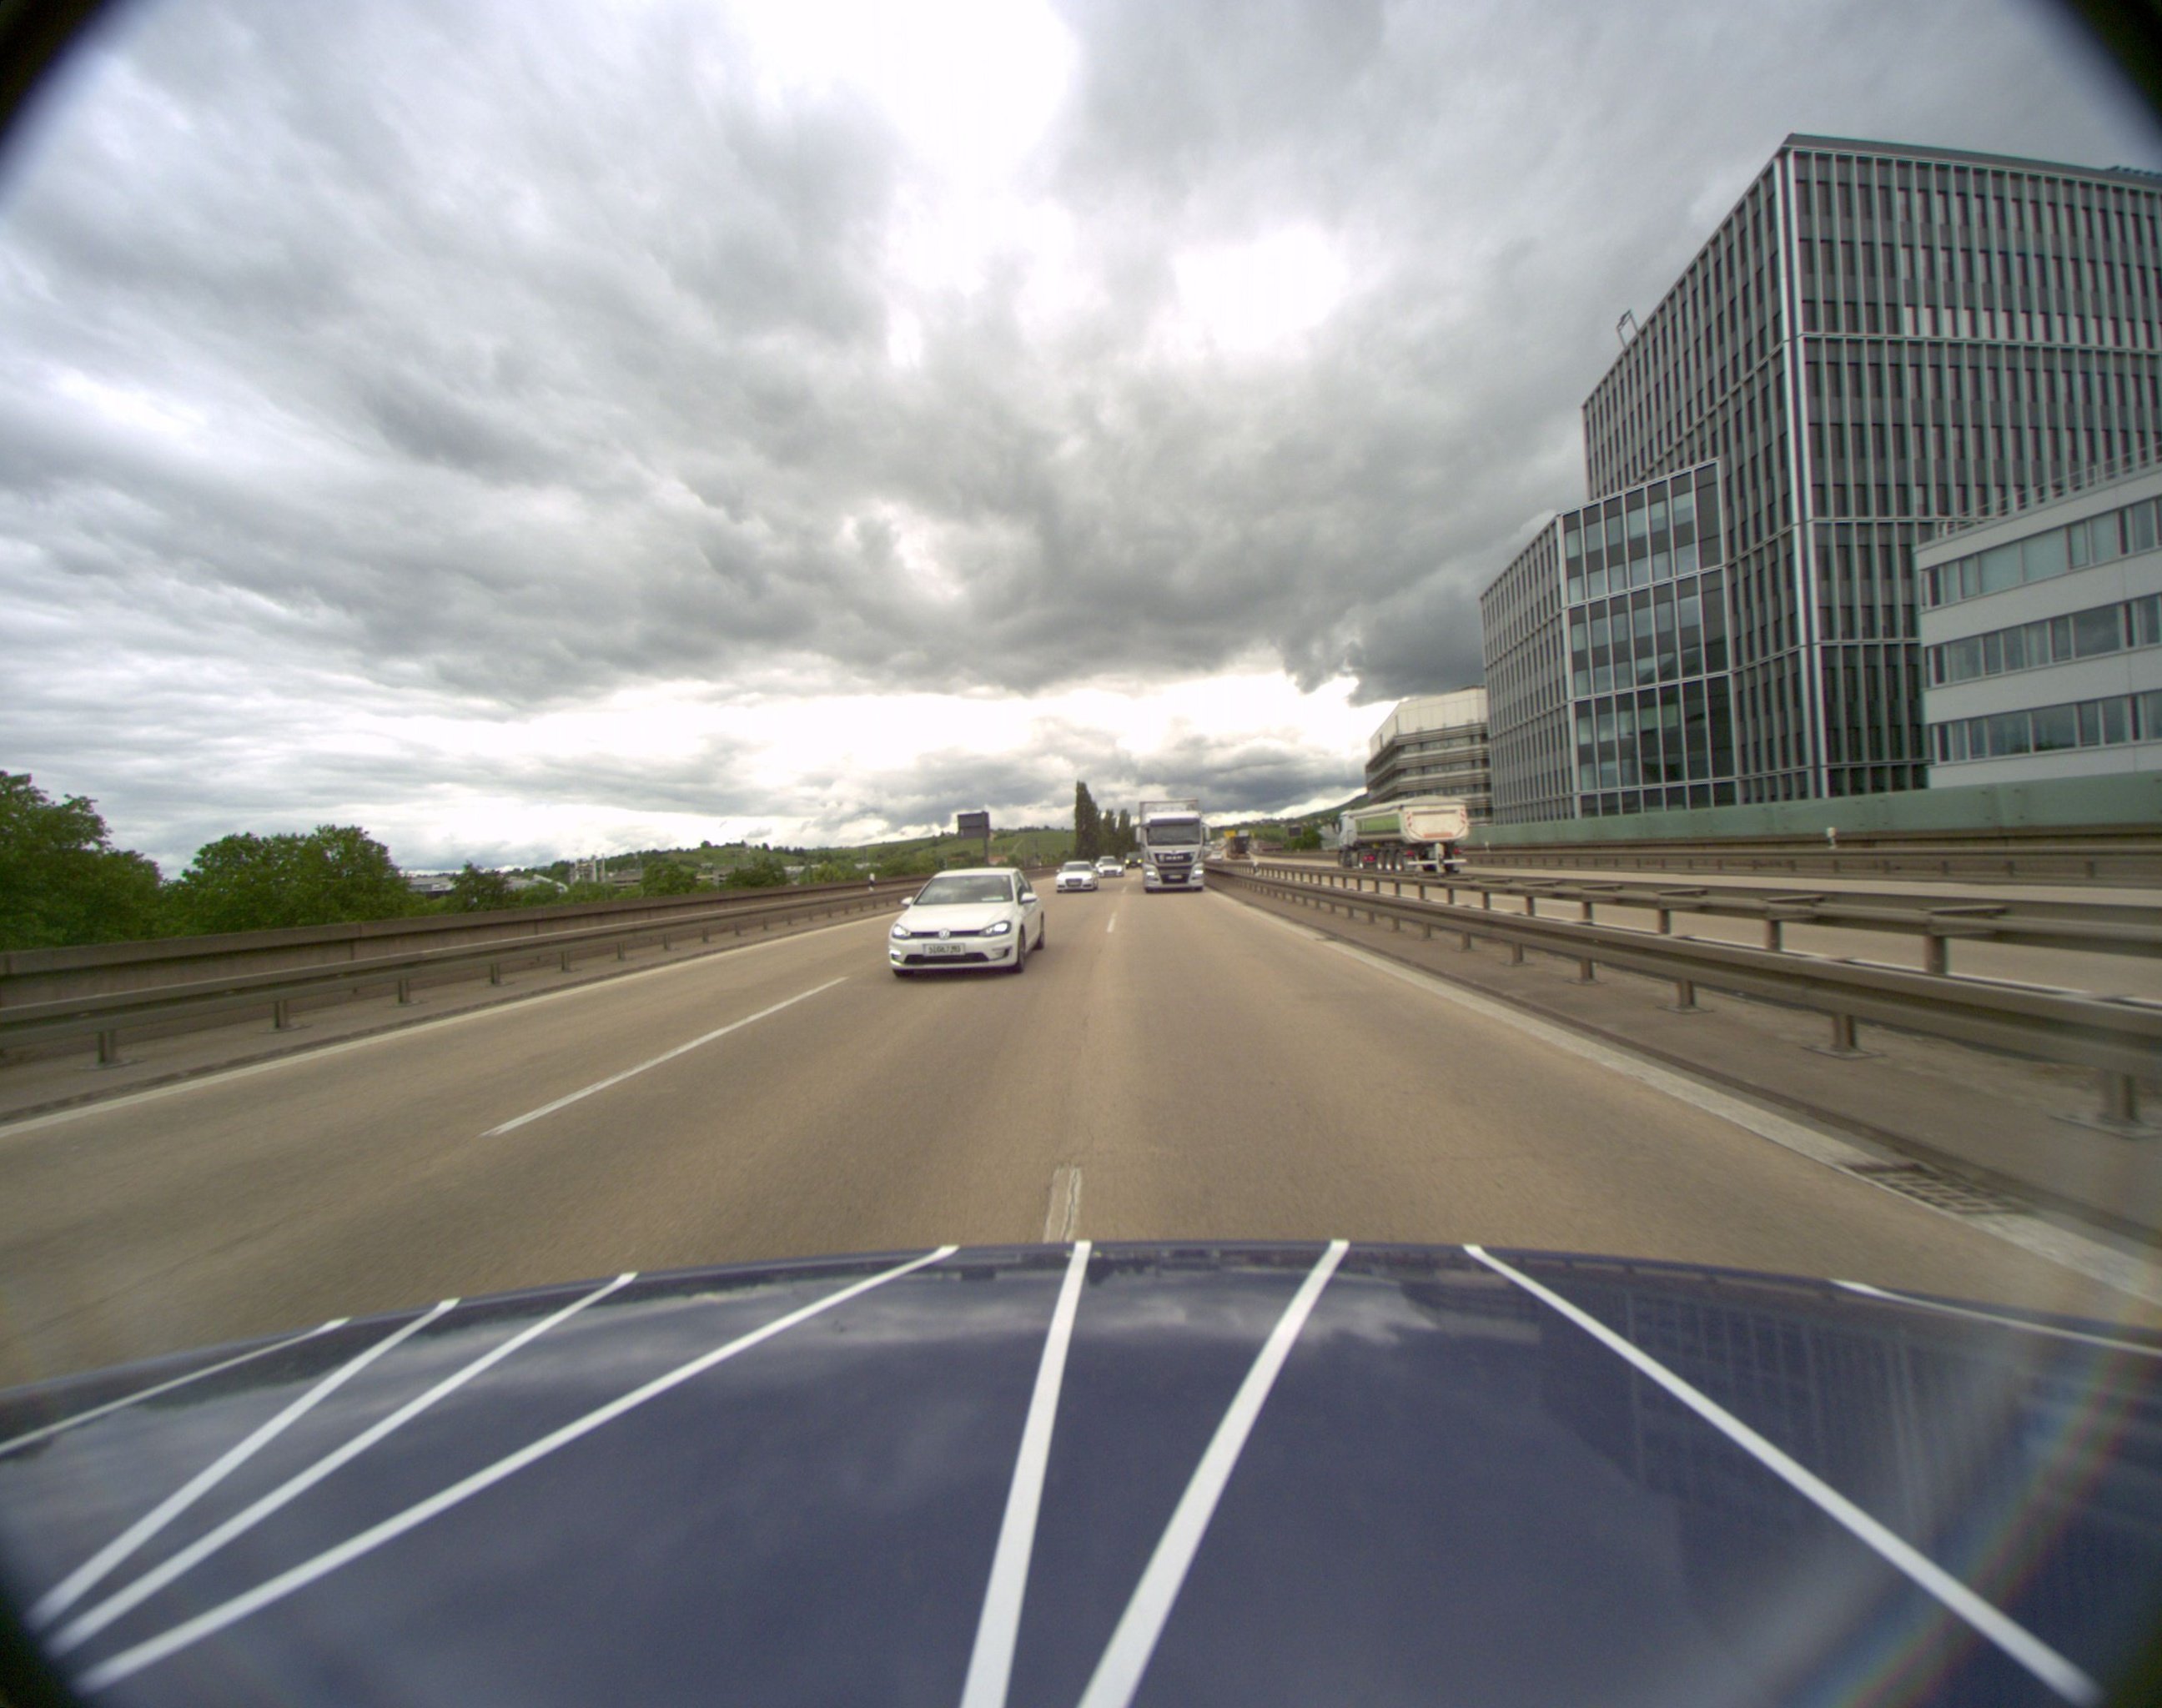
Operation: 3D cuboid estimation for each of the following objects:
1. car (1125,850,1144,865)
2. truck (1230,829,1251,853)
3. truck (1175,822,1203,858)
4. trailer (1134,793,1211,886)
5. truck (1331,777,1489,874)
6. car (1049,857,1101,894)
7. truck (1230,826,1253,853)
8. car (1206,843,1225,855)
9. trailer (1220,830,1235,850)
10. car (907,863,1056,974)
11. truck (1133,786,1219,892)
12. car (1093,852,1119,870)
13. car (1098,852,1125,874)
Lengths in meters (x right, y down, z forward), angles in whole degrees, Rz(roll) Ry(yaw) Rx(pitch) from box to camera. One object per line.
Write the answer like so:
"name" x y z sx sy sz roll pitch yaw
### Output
"car" 6.499 0.391 91.381 1.929 1.585 4.063 -3 1 8
"truck" 27.963 -2.285 133.449 3.062 4.042 11.864 -2 1 10
"truck" 14.410 -1.861 102.288 3.063 4.536 12.074 -2 1 6
"trailer" 4.652 -0.693 40.370 3.188 4.003 11.768 -4 0 5
"truck" 15.234 -1.238 36.701 3.063 3.754 12.521 -2 1 5
"car" -0.231 0.983 36.864 1.930 1.499 4.063 -4 1 7
"truck" 26.005 -2.318 123.415 3.062 4.042 8.668 -2 1 10
"car" 19.615 -0.782 110.915 1.998 1.597 4.808 -2 1 3
"trailer" 31.858 -3.123 165.715 2.850 3.965 11.888 -2 2 9
"car" -1.564 0.993 13.456 1.930 1.499 4.061 -2 1 2
"truck" 4.008 -0.630 33.148 3.141 4.014 5.689 -4 1 4
"car" 2.552 0.633 76.153 1.929 1.585 4.064 -3 1 11
"car" 2.431 0.682 60.218 1.930 1.585 4.062 -4 1 4
